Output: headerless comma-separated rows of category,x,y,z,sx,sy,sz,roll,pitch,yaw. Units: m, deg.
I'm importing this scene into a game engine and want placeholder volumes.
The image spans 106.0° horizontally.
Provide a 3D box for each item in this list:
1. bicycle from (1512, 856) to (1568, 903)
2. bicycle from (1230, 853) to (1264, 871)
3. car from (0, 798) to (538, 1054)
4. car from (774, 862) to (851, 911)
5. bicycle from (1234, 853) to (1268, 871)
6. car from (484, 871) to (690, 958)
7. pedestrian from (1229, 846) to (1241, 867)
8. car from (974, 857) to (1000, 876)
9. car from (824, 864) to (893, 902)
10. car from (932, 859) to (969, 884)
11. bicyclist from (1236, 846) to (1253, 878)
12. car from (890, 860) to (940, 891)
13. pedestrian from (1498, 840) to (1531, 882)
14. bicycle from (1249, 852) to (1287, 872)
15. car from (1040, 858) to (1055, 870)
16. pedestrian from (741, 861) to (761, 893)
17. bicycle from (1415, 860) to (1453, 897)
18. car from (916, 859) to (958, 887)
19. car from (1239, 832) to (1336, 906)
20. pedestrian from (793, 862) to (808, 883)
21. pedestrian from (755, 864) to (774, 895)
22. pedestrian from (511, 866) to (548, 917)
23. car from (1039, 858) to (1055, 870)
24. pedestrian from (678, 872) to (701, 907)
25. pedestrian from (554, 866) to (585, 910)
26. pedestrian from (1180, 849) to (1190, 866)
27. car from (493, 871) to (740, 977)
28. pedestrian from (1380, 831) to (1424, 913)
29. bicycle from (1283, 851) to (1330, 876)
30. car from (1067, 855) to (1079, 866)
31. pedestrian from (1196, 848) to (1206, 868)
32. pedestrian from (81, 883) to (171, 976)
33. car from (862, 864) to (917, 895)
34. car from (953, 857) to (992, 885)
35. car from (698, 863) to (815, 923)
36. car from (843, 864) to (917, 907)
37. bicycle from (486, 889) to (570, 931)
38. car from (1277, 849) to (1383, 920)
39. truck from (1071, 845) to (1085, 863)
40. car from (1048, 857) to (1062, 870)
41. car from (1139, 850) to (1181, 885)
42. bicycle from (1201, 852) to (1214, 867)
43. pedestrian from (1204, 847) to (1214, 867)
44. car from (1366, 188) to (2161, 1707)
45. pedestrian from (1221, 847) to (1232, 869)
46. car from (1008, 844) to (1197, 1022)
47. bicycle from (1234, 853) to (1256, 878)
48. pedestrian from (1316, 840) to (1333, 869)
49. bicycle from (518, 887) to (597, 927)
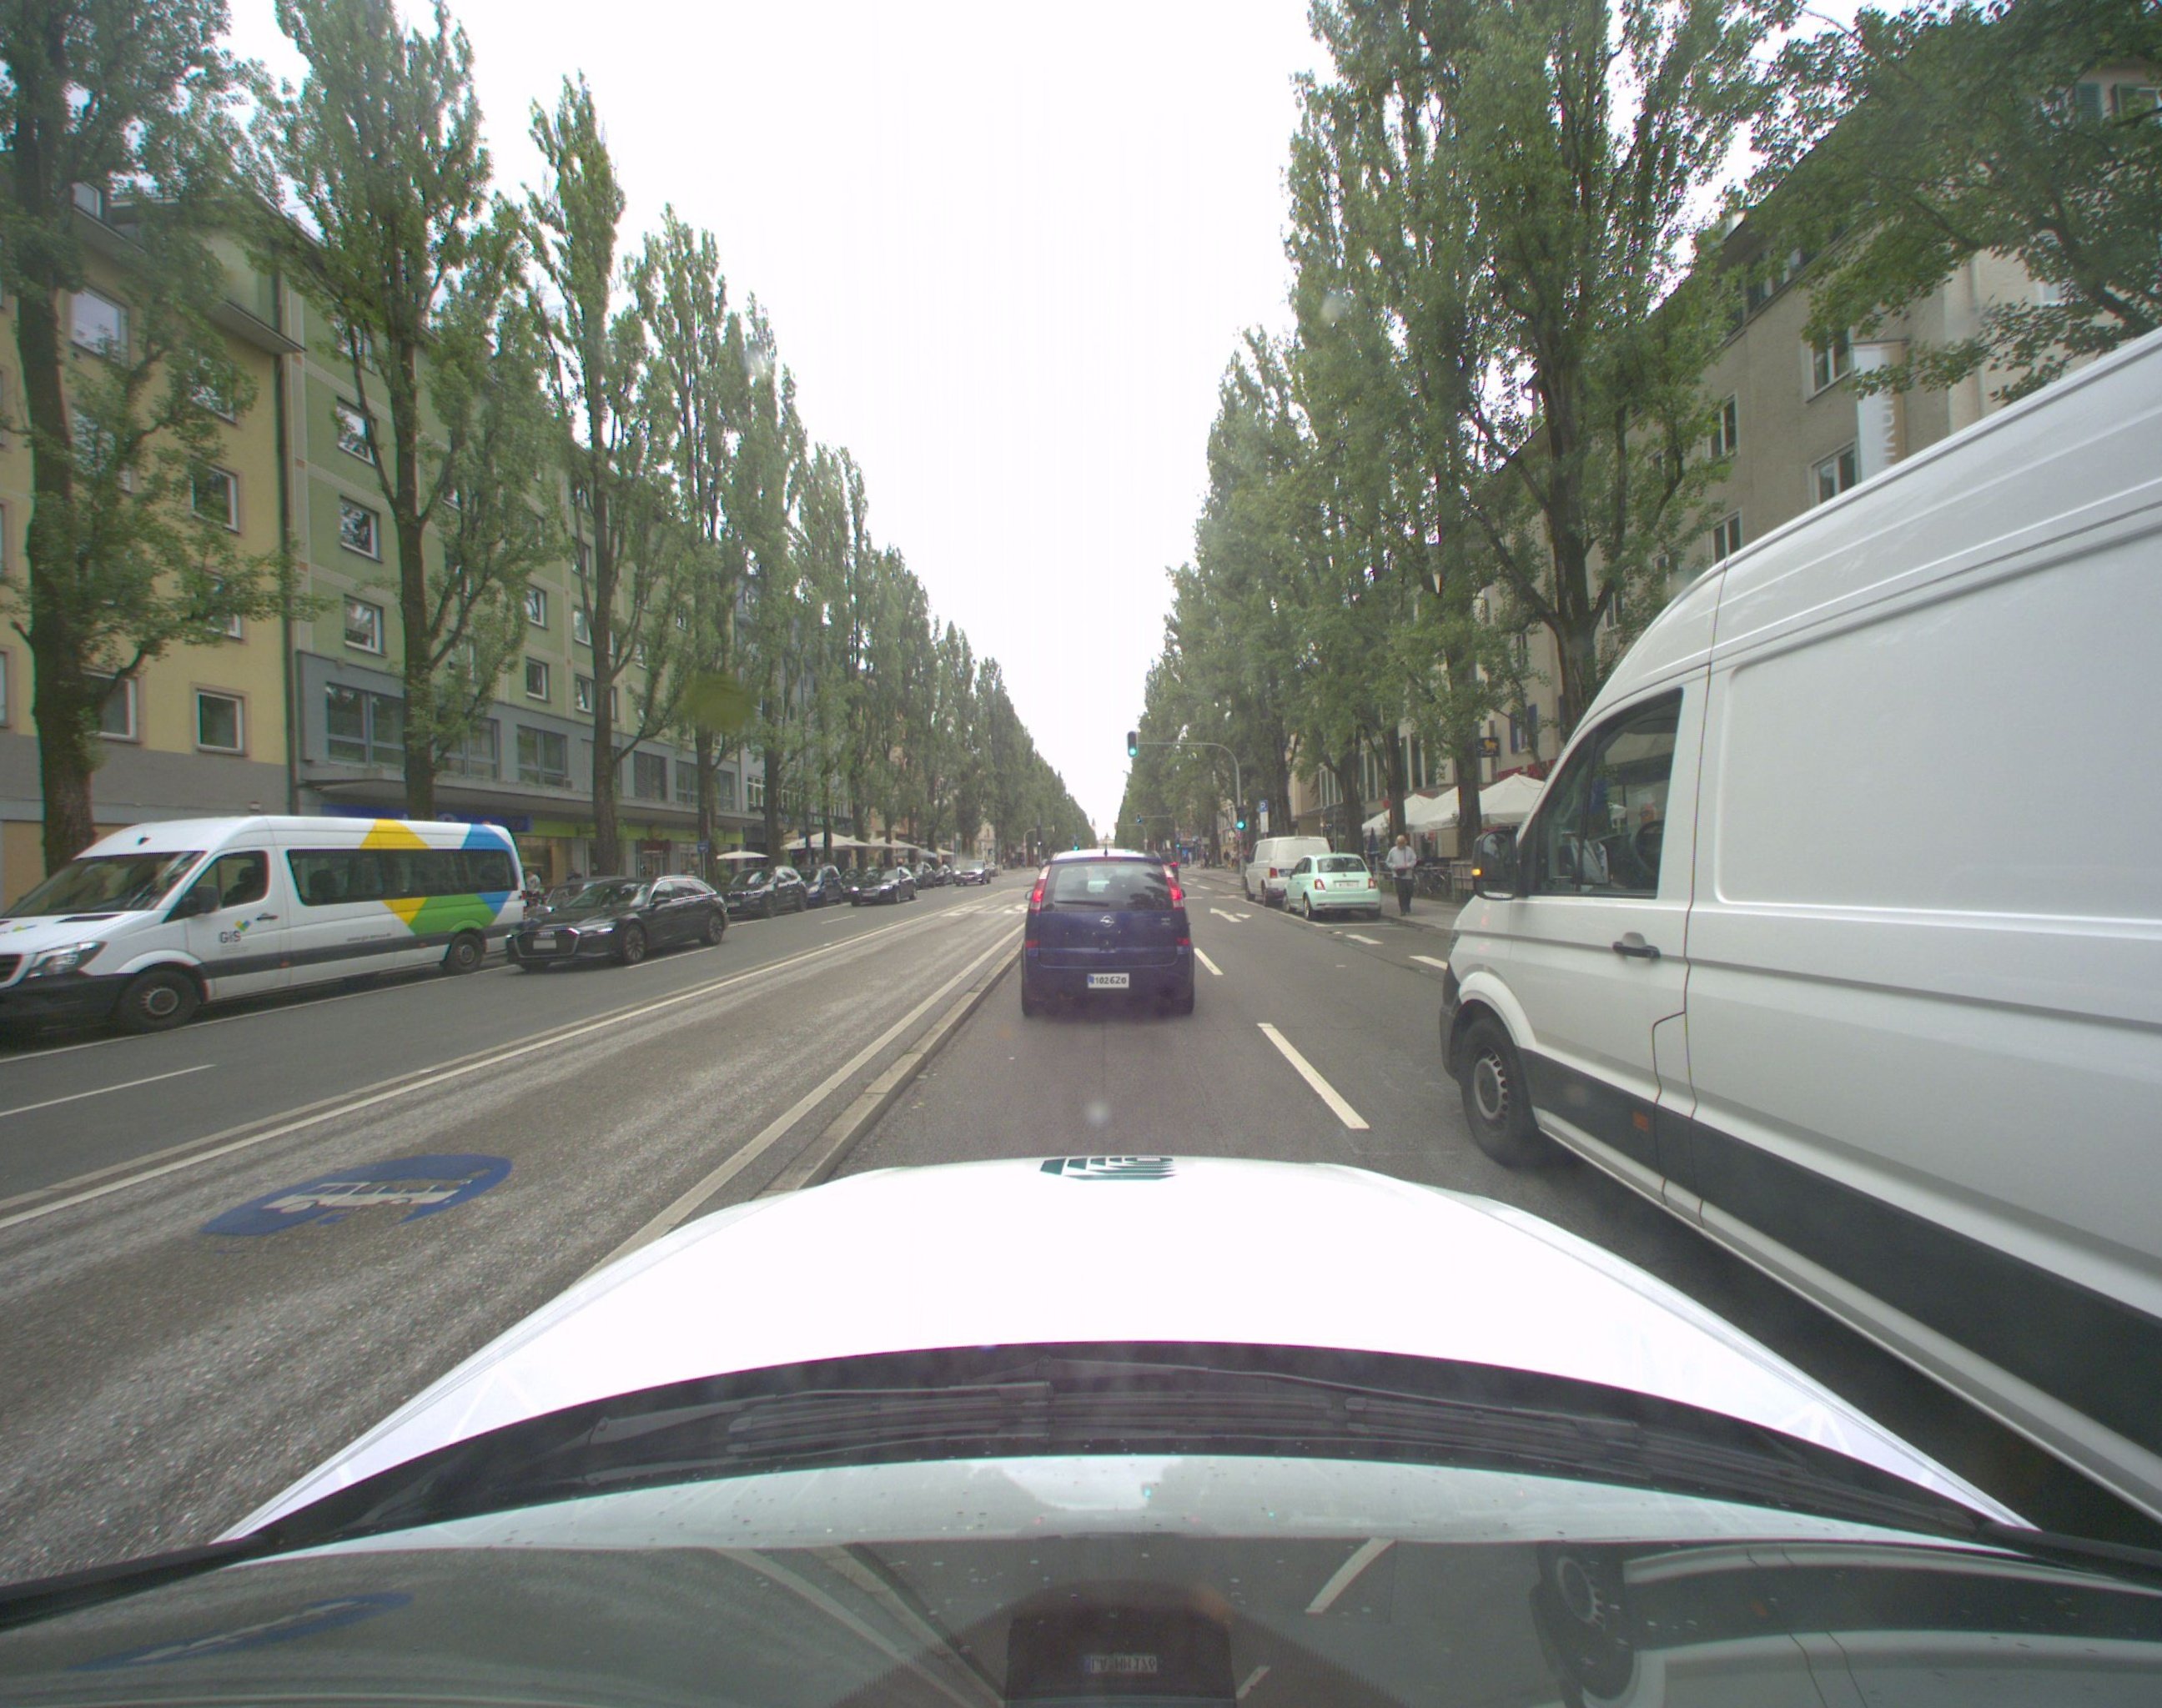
bicycle,10.368,0.571,18.452,0.348,0.996,1.453,-4,-1,-2
bicycle,11.923,0.558,58.524,2.220,1.204,0.626,-3,0,-1
car,-11.308,0.776,11.732,1.998,2.567,6.915,-4,0,2
car,-10.644,1.231,32.576,1.704,1.721,3.920,-4,0,-1
bicycle,11.903,0.550,57.145,2.220,1.204,0.626,-3,0,-1
car,-11.149,1.283,18.829,1.859,1.552,4.416,-4,0,2
pedestrian,12.942,0.210,68.575,0.719,1.827,0.885,0,-1,-8
car,-9.024,1.183,78.391,1.859,1.665,4.122,-4,0,2
car,-10.324,1.319,38.096,1.792,1.488,4.352,-4,0,2
car,-9.638,1.240,60.329,1.859,1.665,4.122,-4,0,2
bicyclist,9.218,0.440,46.010,0.764,1.766,0.885,-2,0,1
car,-9.968,1.269,49.266,1.859,1.665,4.402,-4,0,2
pedestrian,14.356,0.225,26.988,0.636,1.324,0.800,-2,0,1
bicycle,12.075,0.516,52.619,2.220,1.204,0.626,-3,0,-1
car,-5.028,1.542,123.297,1.859,1.665,4.122,-2,0,2
pedestrian,-18.171,1.261,44.850,0.753,1.686,0.675,-3,-1,3
bicycle,9.849,0.674,22.774,0.348,0.996,1.453,-4,-1,-2
car,-9.721,1.264,55.191,1.859,1.665,4.122,-4,0,2
car,6.030,0.412,24.327,1.781,1.946,4.732,-2,0,2
pedestrian,-18.951,1.232,55.102,0.763,1.410,0.799,0,-1,-3
pedestrian,-17.992,1.455,46.290,0.753,1.686,0.675,-3,-1,3
pedestrian,-18.858,1.287,27.856,0.753,1.686,0.675,-3,-1,3
car,-4.880,1.390,116.832,1.859,1.665,4.122,-2,0,2
pedestrian,-19.482,1.742,40.563,0.753,1.686,0.675,-3,-1,3
pedestrian,-20.216,1.338,32.190,0.670,1.686,0.759,-3,-1,3
pedestrian,11.094,0.374,86.666,0.880,1.766,0.769,-2,0,-1
car,-8.331,1.158,15.221,1.691,1.462,4.714,-4,0,2
pedestrian,7.131,0.397,18.117,0.820,1.773,0.875,-2,0,19
bicycle,11.695,0.480,42.240,2.220,1.204,0.626,-3,0,-1
car,-1.189,0.966,123.436,1.728,1.465,3.366,-2,0,2
pedestrian,10.720,0.345,72.788,0.636,1.827,0.885,0,-1,-8
pedestrian,-18.467,1.443,15.760,0.753,1.686,0.786,-3,0,4
car,-10.122,1.321,43.378,1.727,1.425,4.145,-4,0,2
car,-7.014,1.080,53.085,1.764,1.635,4.456,-3,0,1
car,-10.666,1.214,27.184,1.859,1.664,4.613,-4,0,2
car,-7.898,1.188,32.368,1.739,1.434,4.131,-4,0,2
bicycle,-15.276,1.541,22.532,1.860,1.095,0.720,0,0,4
car,5.790,0.672,19.301,1.535,1.492,3.525,-1,0,2
truck,-0.516,-0.010,154.741,2.374,3.346,7.113,-2,0,2
car,-4.200,1.486,131.324,1.986,2.013,4.001,-2,0,1
car,3.947,0.637,41.215,1.889,1.622,4.002,-1,0,2
bicycle,11.790,0.515,75.907,0.769,1.349,2.450,-2,0,1
pedestrian,11.470,0.257,73.201,0.636,1.827,0.885,0,-1,-8
car,2.706,0.216,1.689,2.055,2.492,6.733,-1,0,2
pedestrian,12.215,0.350,68.319,0.636,1.827,0.885,0,-1,-8
car,0.268,0.709,9.325,1.665,1.568,4.002,-1,0,2
bicycle,9.218,0.639,45.947,0.769,1.349,2.450,-2,0,1
pedestrian,14.583,0.034,48.722,0.671,1.686,0.758,-3,-1,-3
bicycle,-15.266,1.538,23.784,1.860,1.095,0.720,0,0,4
